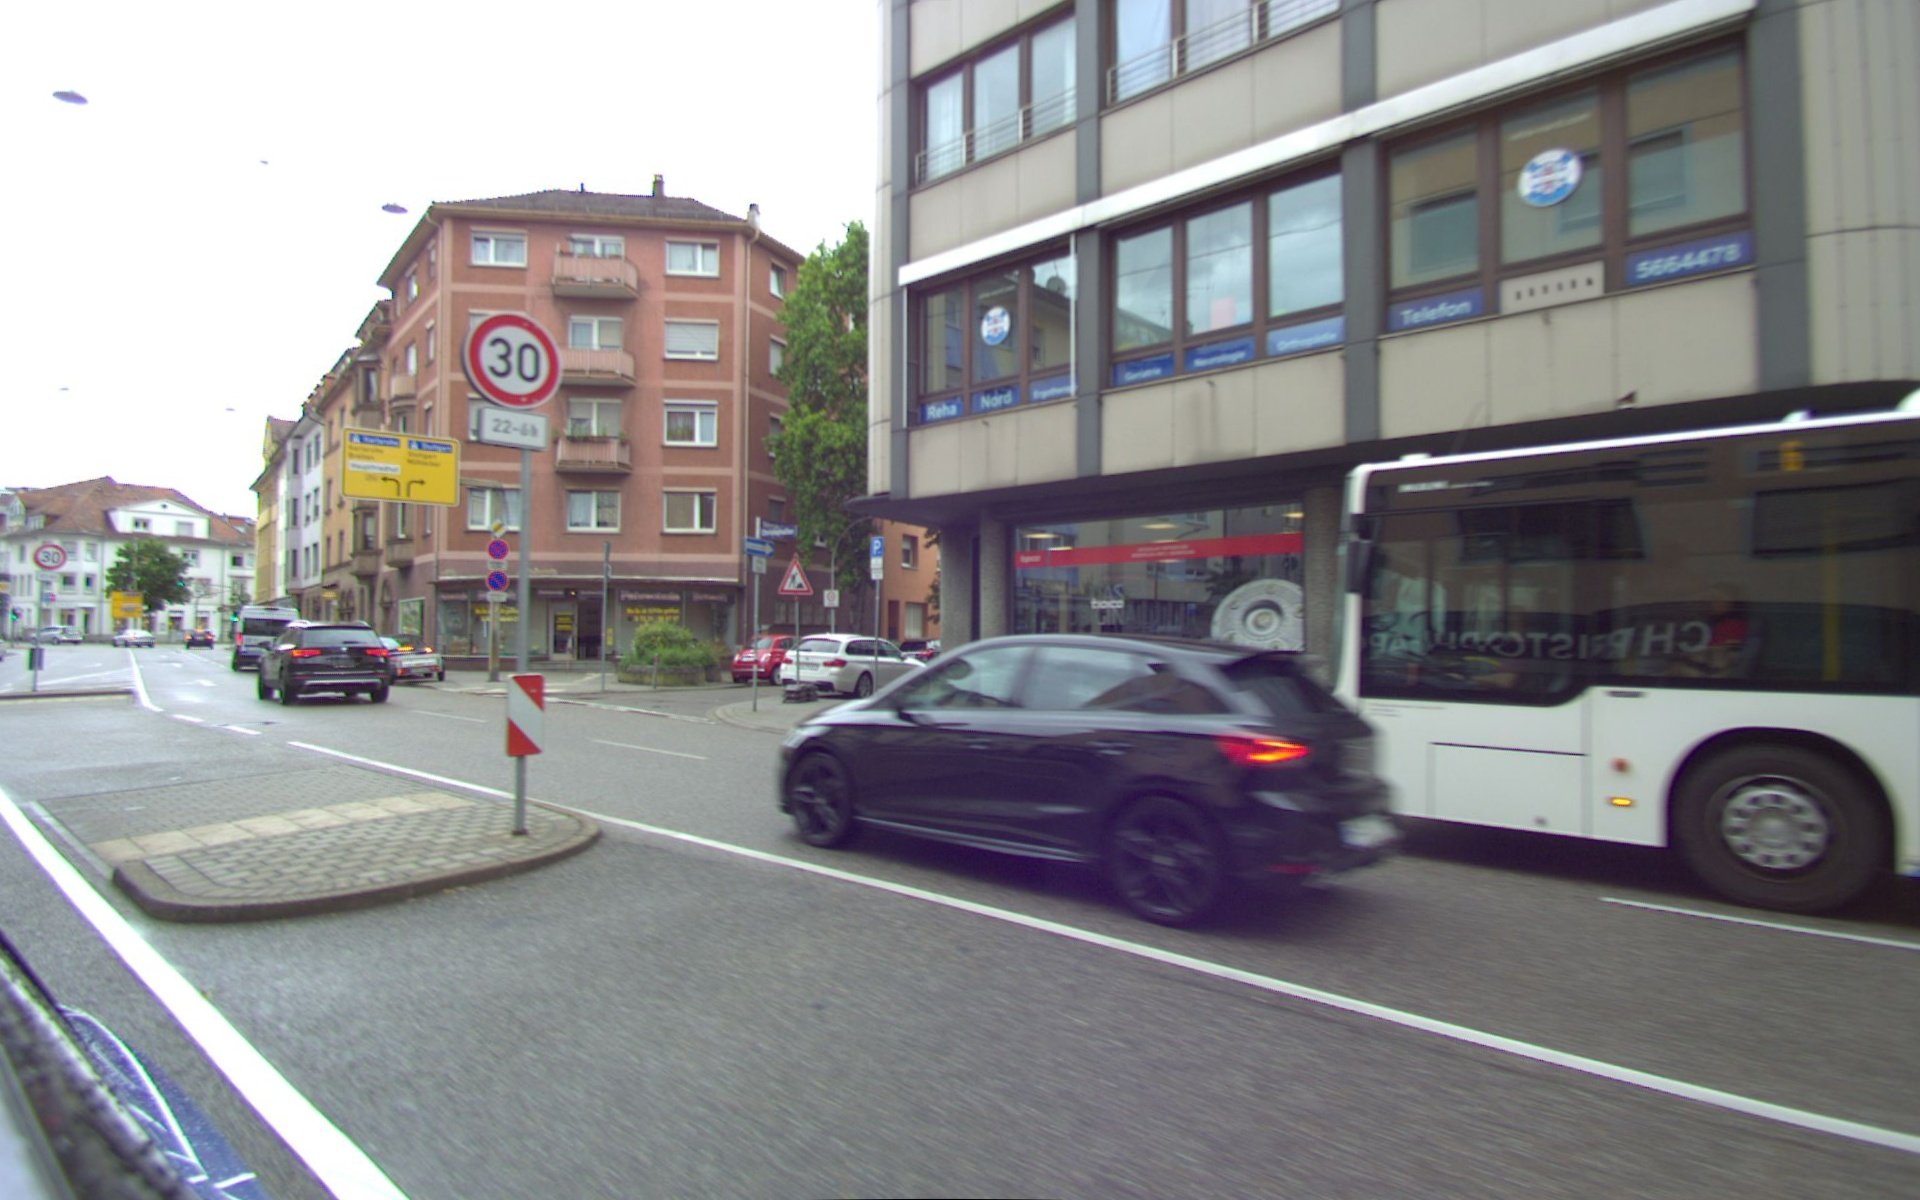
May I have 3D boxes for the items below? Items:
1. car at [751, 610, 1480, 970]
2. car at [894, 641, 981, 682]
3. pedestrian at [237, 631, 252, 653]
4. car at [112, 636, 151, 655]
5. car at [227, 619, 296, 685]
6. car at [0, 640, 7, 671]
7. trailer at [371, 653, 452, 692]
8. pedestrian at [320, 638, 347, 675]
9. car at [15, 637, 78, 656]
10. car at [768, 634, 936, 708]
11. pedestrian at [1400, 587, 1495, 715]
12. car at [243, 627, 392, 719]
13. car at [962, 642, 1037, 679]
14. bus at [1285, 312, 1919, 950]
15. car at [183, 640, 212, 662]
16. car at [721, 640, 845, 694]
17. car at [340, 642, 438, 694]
[{"bbox_3d":[0.697,0.825,6.115,4.083,1.462,1.691,-1,-3,41],"label":"car"},{"bbox_3d":[-0.841,2.352,39.221,1.689,1.494,3.486,-1,-2,34],"label":"car"},{"bbox_3d":[-61.839,3.625,87.437,0.882,1.784,1.034,-3,1,-42],"label":"pedestrian"},{"bbox_3d":[-68.211,3.743,83.318,4.560,1.481,1.921,-1,-3,43],"label":"car"},{"bbox_3d":[-28.065,2.022,40.562,2.058,2.454,6.367,2,-2,-36],"label":"car"},{"bbox_3d":[-48.757,2.754,50.323,1.626,1.505,4.456,2,-3,-39],"label":"car"},{"bbox_3d":[-15.854,2.065,29.183,1.567,0.956,3.062,1,-2,-38],"label":"trailer"},{"bbox_3d":[-30.059,2.691,48.576,0.852,1.691,0.834,-1,0,37],"label":"pedestrian"},{"bbox_3d":[-78.570,3.996,87.032,4.481,1.596,1.938,0,-2,17],"label":"car"},{"bbox_3d":[-2.423,1.610,24.034,1.895,1.544,4.605,0,-2,24],"label":"car"},{"bbox_3d":[5.628,0.578,11.680,0.787,1.406,0.759,-1,-3,44],"label":"pedestrian"},{"bbox_3d":[-13.100,1.425,20.515,1.722,1.675,4.421,3,-4,-43],"label":"car"},{"bbox_3d":[1.743,2.579,43.693,1.689,1.494,3.486,-1,-2,34],"label":"car"},{"bbox_3d":[6.566,0.176,5.386,8.908,3.213,2.729,-1,-3,42],"label":"bus"},{"bbox_3d":[-62.139,4.146,82.469,1.731,1.664,4.315,2,-2,-38],"label":"car"},{"bbox_3d":[-5.207,1.951,30.118,1.689,1.494,3.486,-1,-2,33],"label":"car"},{"bbox_3d":[-18.313,2.121,32.344,1.827,1.408,4.800,-2,0,-40],"label":"car"}]
